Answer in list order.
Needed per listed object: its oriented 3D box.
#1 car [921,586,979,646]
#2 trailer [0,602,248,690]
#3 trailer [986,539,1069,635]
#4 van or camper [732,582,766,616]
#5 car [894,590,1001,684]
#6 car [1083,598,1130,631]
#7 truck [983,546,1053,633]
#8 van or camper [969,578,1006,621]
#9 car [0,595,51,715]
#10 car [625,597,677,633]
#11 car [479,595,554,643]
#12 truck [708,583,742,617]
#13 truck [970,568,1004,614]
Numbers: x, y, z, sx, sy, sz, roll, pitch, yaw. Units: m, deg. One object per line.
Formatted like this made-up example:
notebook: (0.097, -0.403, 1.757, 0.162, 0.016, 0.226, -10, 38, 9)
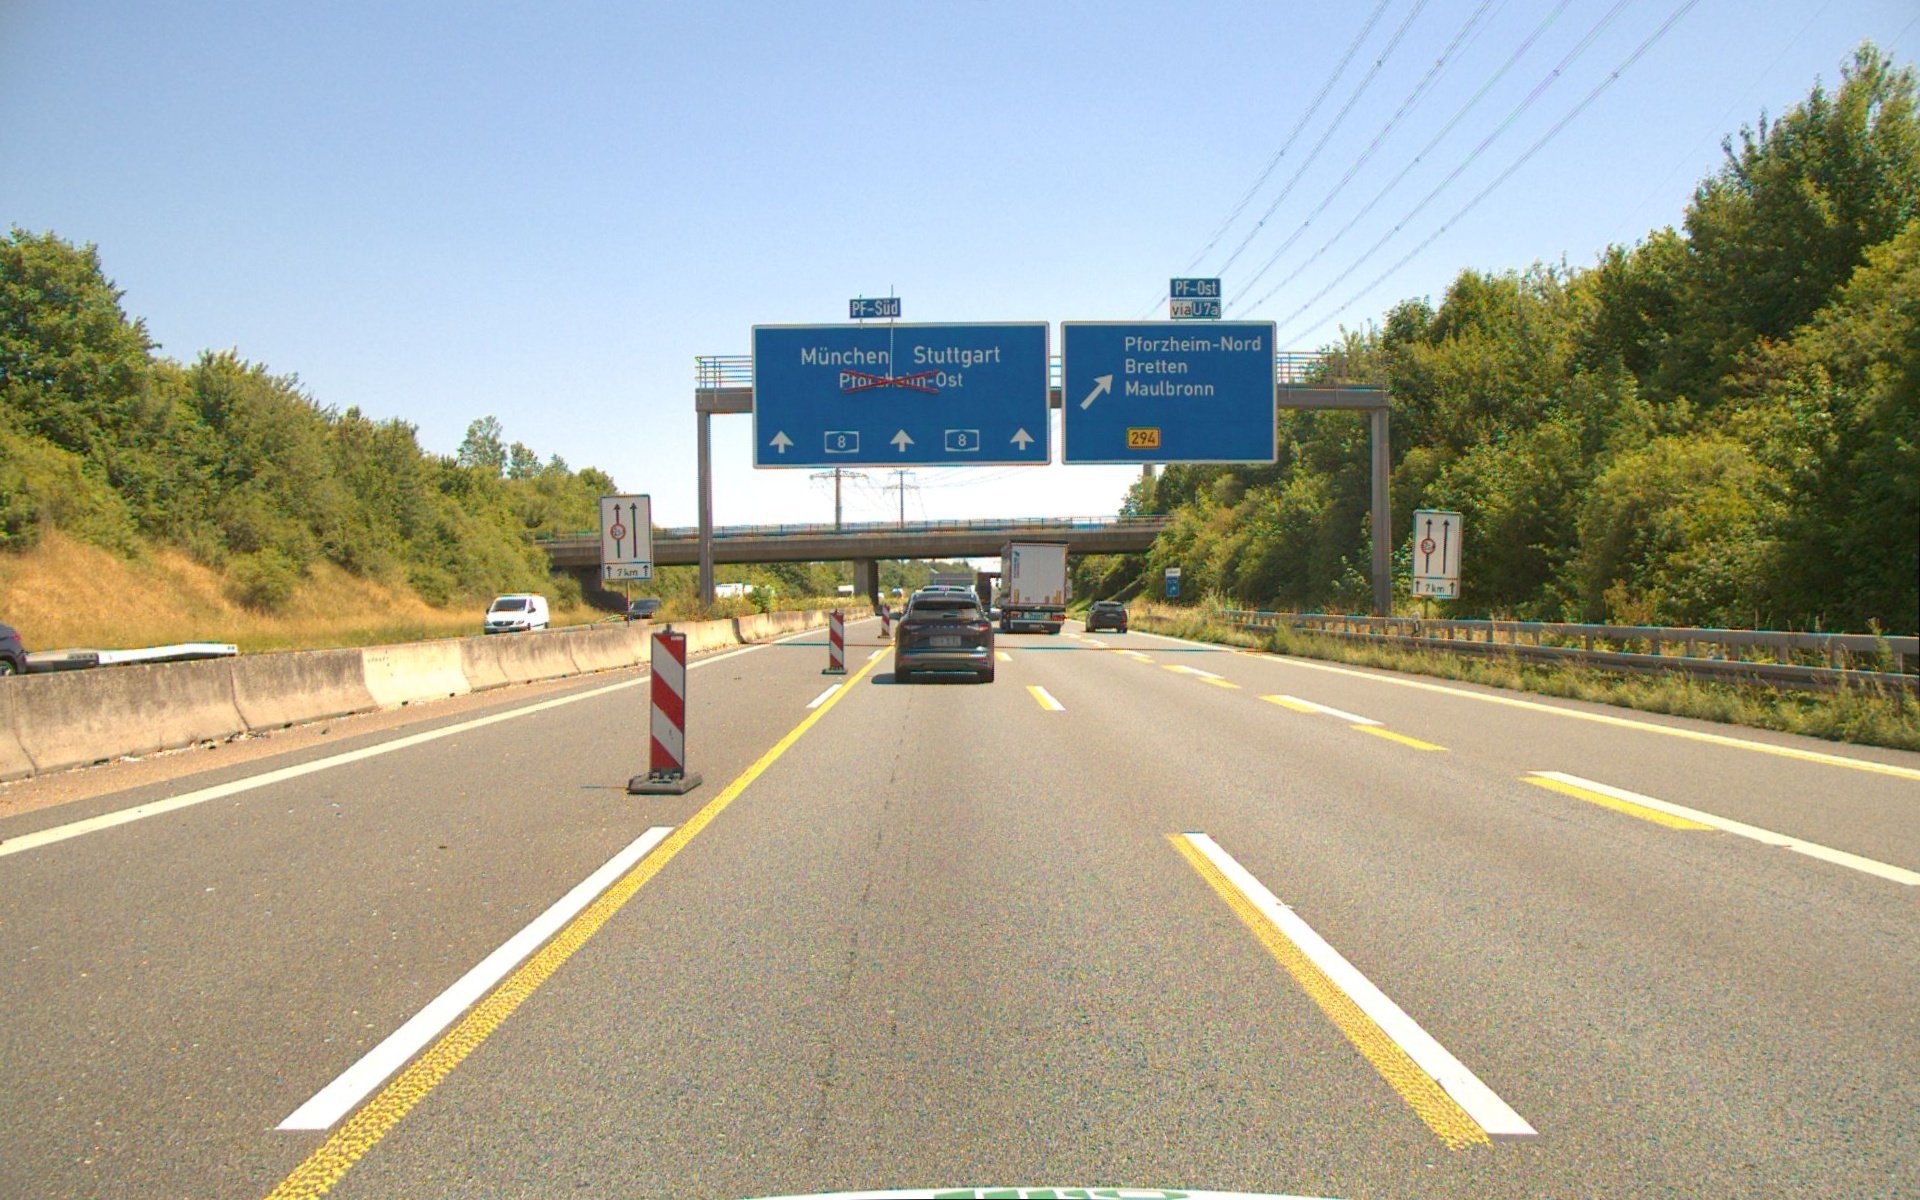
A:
car: (-0.386, 0.504, 57.439, 1.857, 1.873, 4.442, 2, 1, -2)
trailer: (-15.516, 0.747, 29.840, 2.308, 1.367, 7.215, -1, 0, -1)
trailer: (3.001, -0.568, 77.069, 3.003, 4.113, 11.483, 0, 0, -2)
van or camper: (-20.548, -0.053, 161.596, 2.386, 3.202, 7.625, -1, 0, -1)
car: (-0.279, 0.626, 30.904, 1.857, 1.620, 4.441, 0, 0, -2)
car: (6.971, 0.676, 79.047, 1.743, 1.515, 4.463, 1, 0, -1)
truck: (2.861, -0.534, 83.653, 2.964, 4.159, 7.792, 1, 0, -2)
van or camper: (2.014, -0.041, 121.457, 2.533, 3.020, 6.085, 2, 0, 0)
car: (-15.284, 0.813, 23.837, 1.874, 1.784, 4.564, 1, 0, -1)
car: (-15.682, 0.732, 84.086, 1.834, 1.724, 4.497, -1, 0, 0)
car: (-19.715, 0.823, 73.740, 1.891, 2.049, 5.595, -1, 0, -1)
truck: (-23.329, -0.007, 164.326, 2.444, 3.316, 6.363, -1, 0, -1)
truck: (2.488, -0.811, 157.915, 3.014, 4.219, 13.054, 1, 0, 0)
